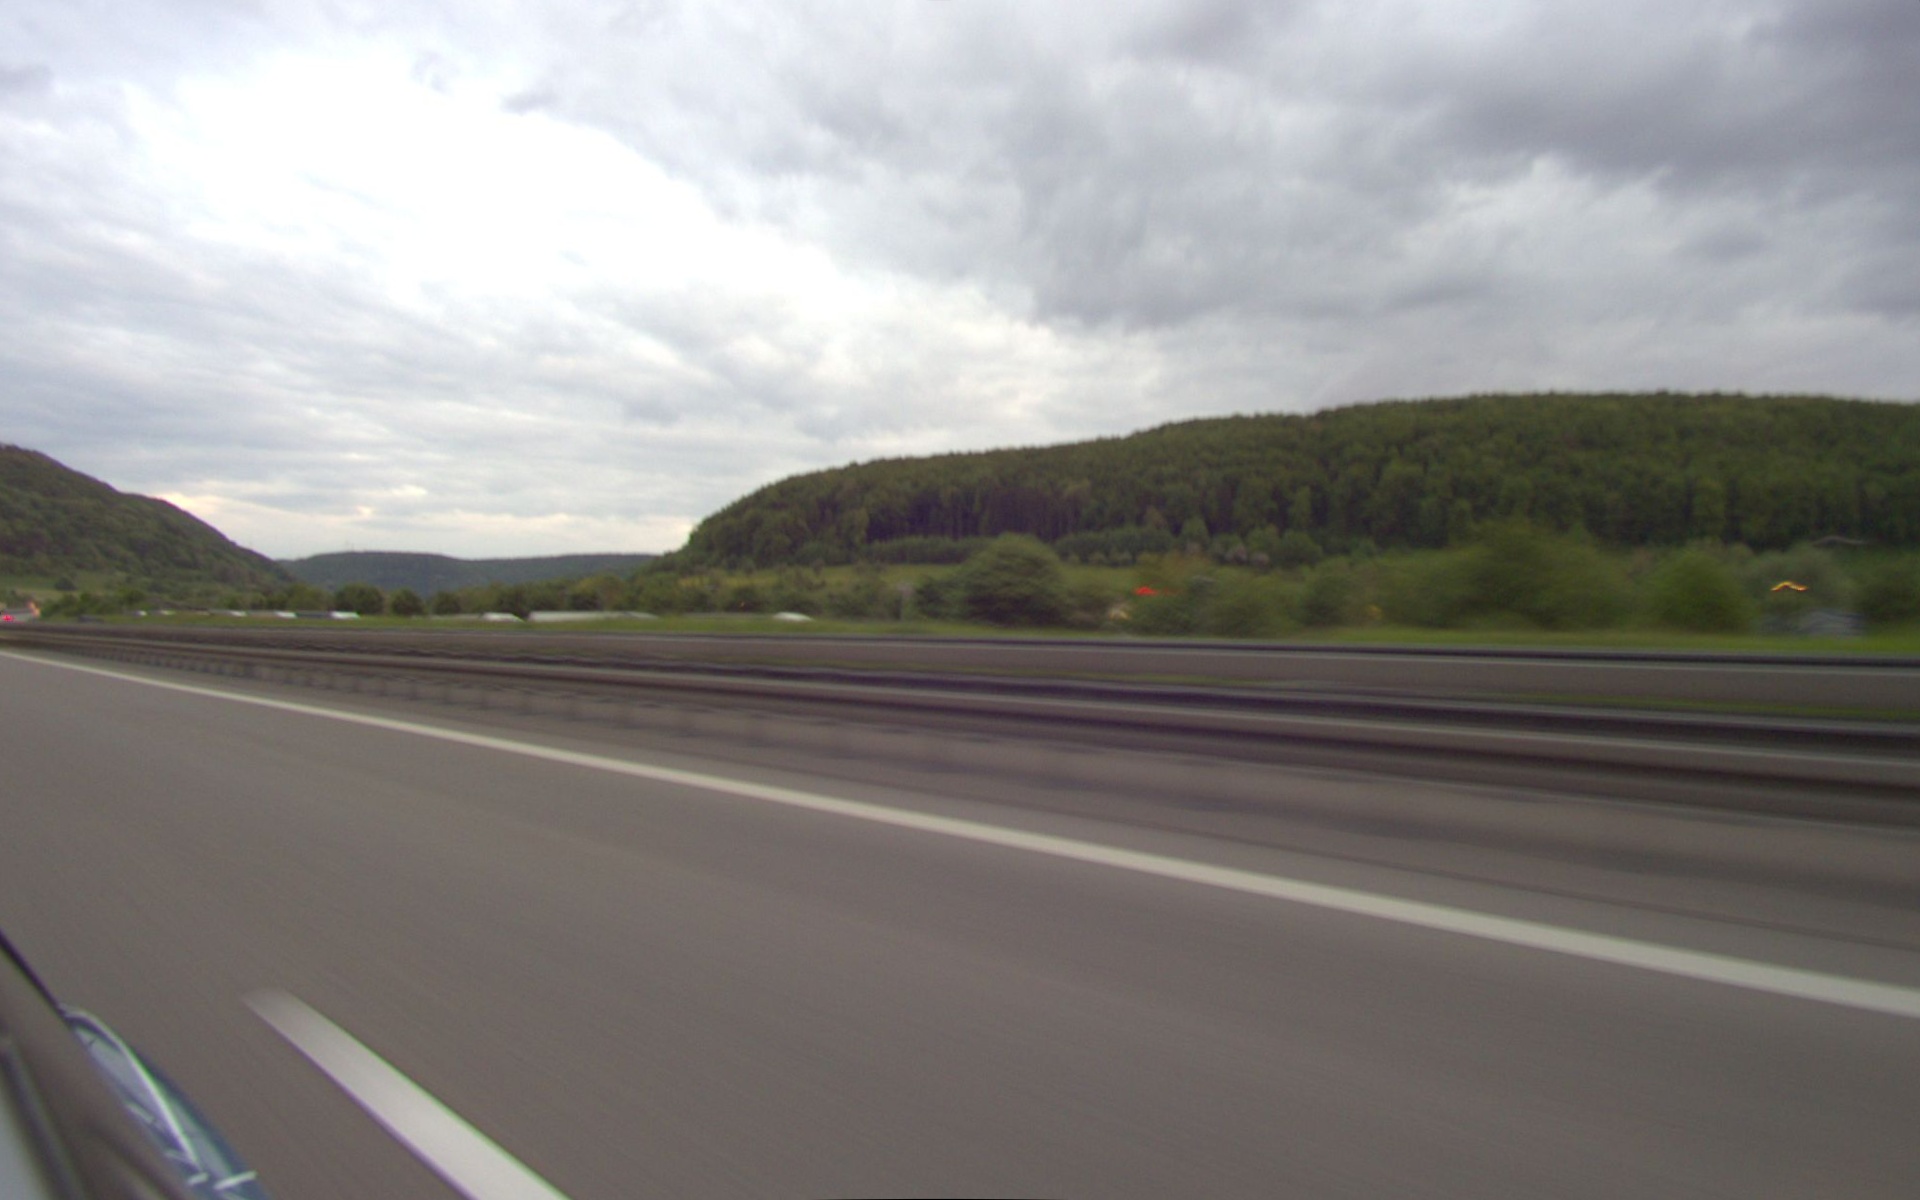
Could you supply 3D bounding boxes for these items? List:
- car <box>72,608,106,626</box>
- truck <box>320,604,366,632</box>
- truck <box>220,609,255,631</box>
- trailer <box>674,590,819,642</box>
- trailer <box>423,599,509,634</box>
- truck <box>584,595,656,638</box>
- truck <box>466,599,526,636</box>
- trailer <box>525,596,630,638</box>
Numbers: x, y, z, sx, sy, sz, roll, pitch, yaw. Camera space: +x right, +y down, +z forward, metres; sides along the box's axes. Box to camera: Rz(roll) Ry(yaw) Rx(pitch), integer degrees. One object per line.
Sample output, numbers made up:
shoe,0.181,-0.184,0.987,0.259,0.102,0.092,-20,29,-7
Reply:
car,-92.043,1.834,106.916,5.113,1.714,1.973,-1,-4,41
truck,-70.514,2.080,115.568,5.890,3.112,2.837,-1,-2,41
truck,-103.228,2.878,144.530,5.890,3.112,2.837,-1,-2,41
trailer,-13.944,1.040,65.212,11.150,3.112,2.838,-1,-2,40
trailer,-45.268,1.561,92.515,11.721,3.076,2.843,-2,-2,42
truck,-25.141,1.237,74.781,5.302,3.112,2.837,-1,-2,41
truck,-40.587,1.519,88.454,5.302,3.112,2.837,-1,-2,41
trailer,-30.083,1.327,79.157,11.155,3.112,2.837,-1,-2,42
